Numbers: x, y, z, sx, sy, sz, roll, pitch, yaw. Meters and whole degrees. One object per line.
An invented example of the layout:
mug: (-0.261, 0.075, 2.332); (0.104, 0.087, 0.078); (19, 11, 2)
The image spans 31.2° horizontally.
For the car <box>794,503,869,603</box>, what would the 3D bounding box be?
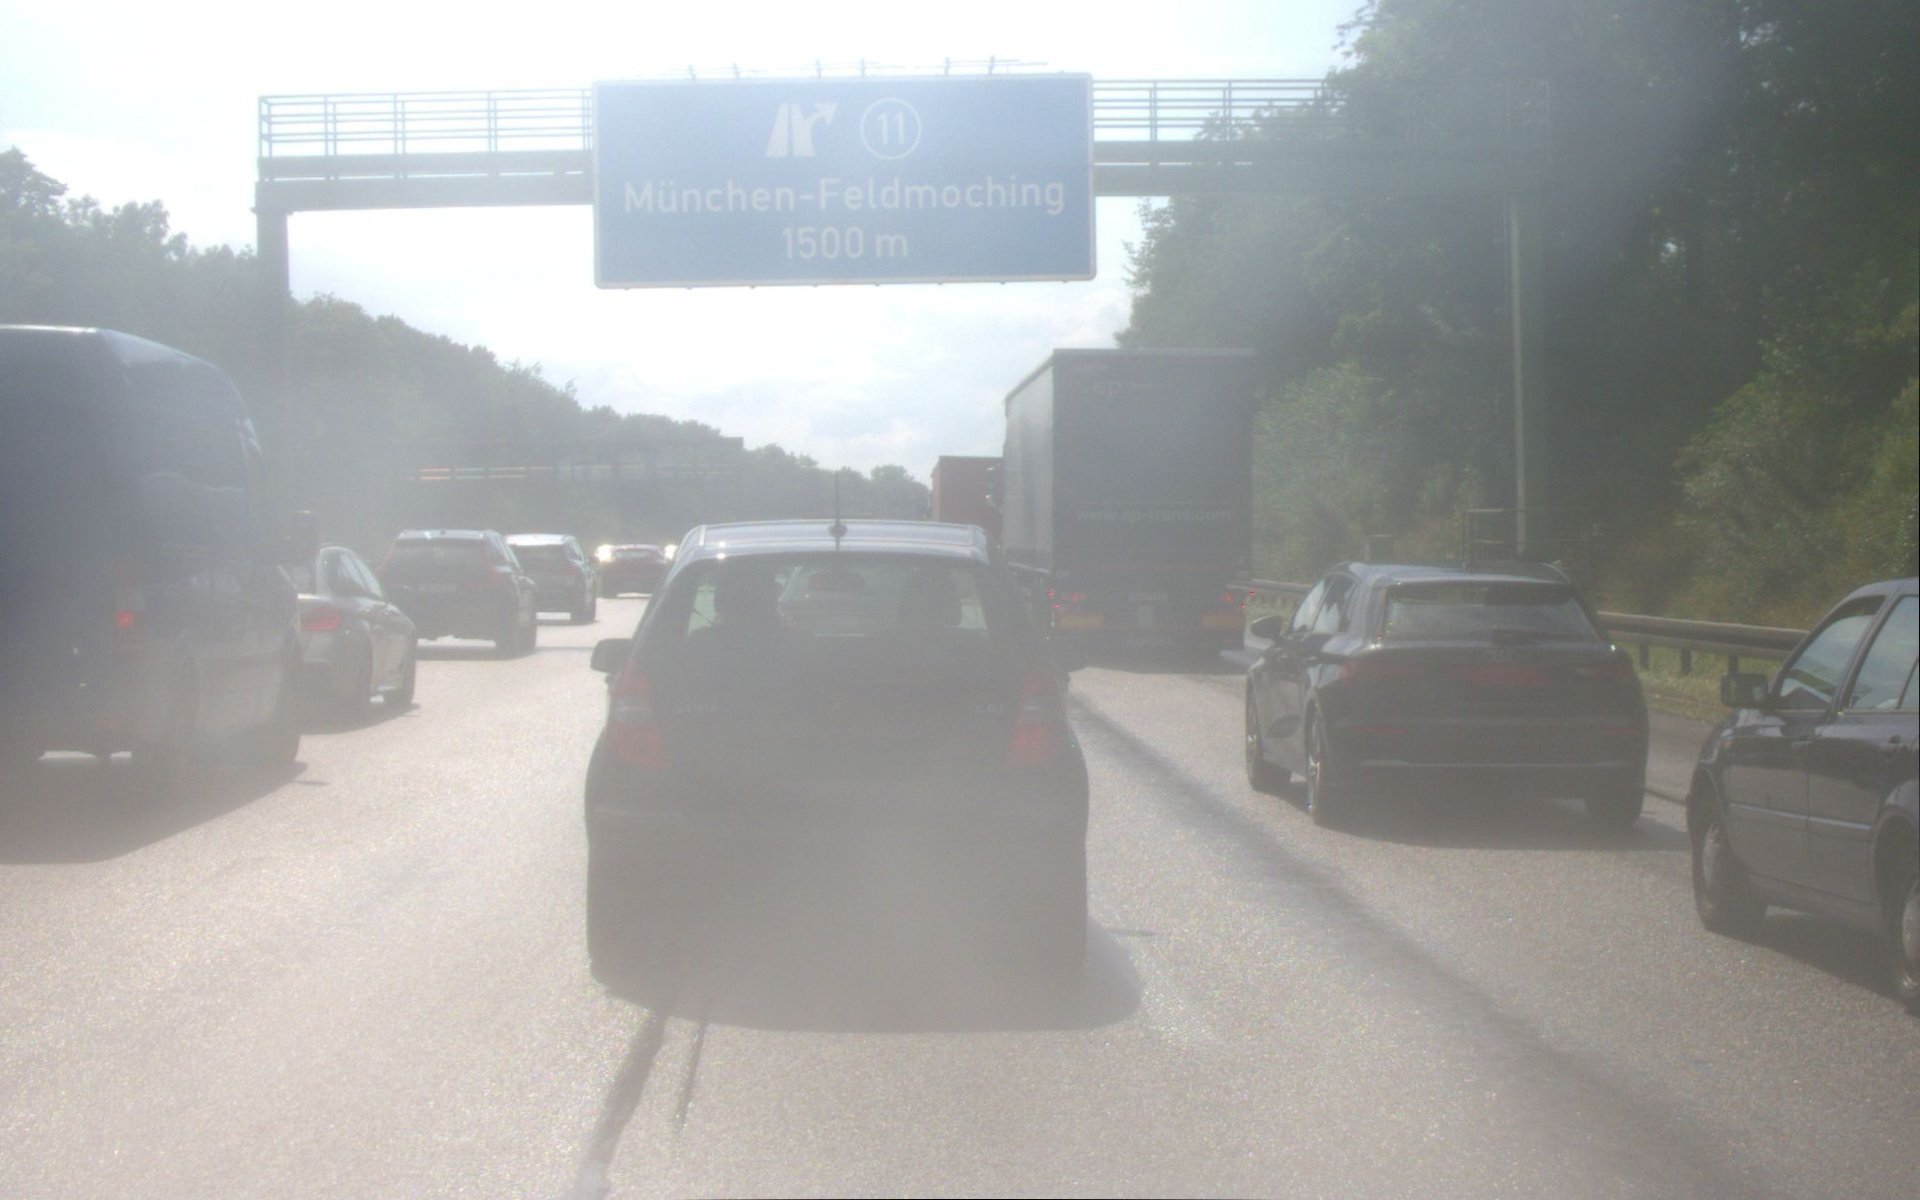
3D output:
car: (-3.606, -1.322, 97.294); (1.993, 2.737, 5.260); (1, 1, -1)

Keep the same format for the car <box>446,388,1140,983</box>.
car: (-0.687, 0.262, 13.817); (2.274, 1.948, 4.822); (1, 1, -3)

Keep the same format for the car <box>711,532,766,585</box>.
car: (-8.950, -1.679, 139.315); (1.993, 2.108, 4.889); (1, 1, -1)

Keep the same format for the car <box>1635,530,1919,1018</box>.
car: (3.686, 0.534, 12.087); (1.590, 1.511, 3.976); (1, 1, -4)

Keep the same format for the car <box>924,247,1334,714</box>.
car: (2.054, -1.590, 51.737); (4.403, 5.810, 16.820); (1, 1, -3)

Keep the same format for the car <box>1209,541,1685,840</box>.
car: (2.638, 0.443, 19.565); (1.864, 1.511, 3.977); (1, 1, -4)

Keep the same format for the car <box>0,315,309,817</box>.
car: (-5.343, -0.212, 20.546); (1.993, 2.606, 5.260); (1, 1, -1)

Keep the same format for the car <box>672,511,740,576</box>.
car: (-8.467, -1.871, 114.768); (1.993, 2.108, 4.889); (1, 1, -1)

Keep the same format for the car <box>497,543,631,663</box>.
car: (-7.270, 0.033, 63.534); (1.993, 2.108, 4.889); (1, 1, -1)

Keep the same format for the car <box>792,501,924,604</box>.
car: (-1.614, -0.727, 53.301); (1.864, 1.511, 3.977); (1, 1, -4)

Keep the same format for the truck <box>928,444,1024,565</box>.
truck: (0.446, -2.926, 106.889); (2.775, 3.619, 5.917); (1, 1, -1)

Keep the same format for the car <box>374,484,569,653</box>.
car: (-6.441, -0.425, 45.846); (1.993, 2.108, 4.889); (1, 1, -1)

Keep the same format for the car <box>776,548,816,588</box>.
car: (-8.750, -1.724, 183.886); (1.993, 2.108, 4.889); (1, 1, -1)

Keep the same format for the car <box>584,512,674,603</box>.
car: (-8.883, -1.141, 92.644); (1.993, 2.377, 5.260); (1, 1, -1)

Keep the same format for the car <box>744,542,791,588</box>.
car: (-9.100, -1.657, 162.851); (1.993, 2.108, 4.889); (1, 1, -1)

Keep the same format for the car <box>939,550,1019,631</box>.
car: (0.488, -0.283, 93.155); (1.993, 2.108, 4.889); (1, 1, -1)

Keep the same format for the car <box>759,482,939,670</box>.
car: (-1.193, -0.252, 35.340); (1.692, 1.798, 3.976); (1, 1, -4)
